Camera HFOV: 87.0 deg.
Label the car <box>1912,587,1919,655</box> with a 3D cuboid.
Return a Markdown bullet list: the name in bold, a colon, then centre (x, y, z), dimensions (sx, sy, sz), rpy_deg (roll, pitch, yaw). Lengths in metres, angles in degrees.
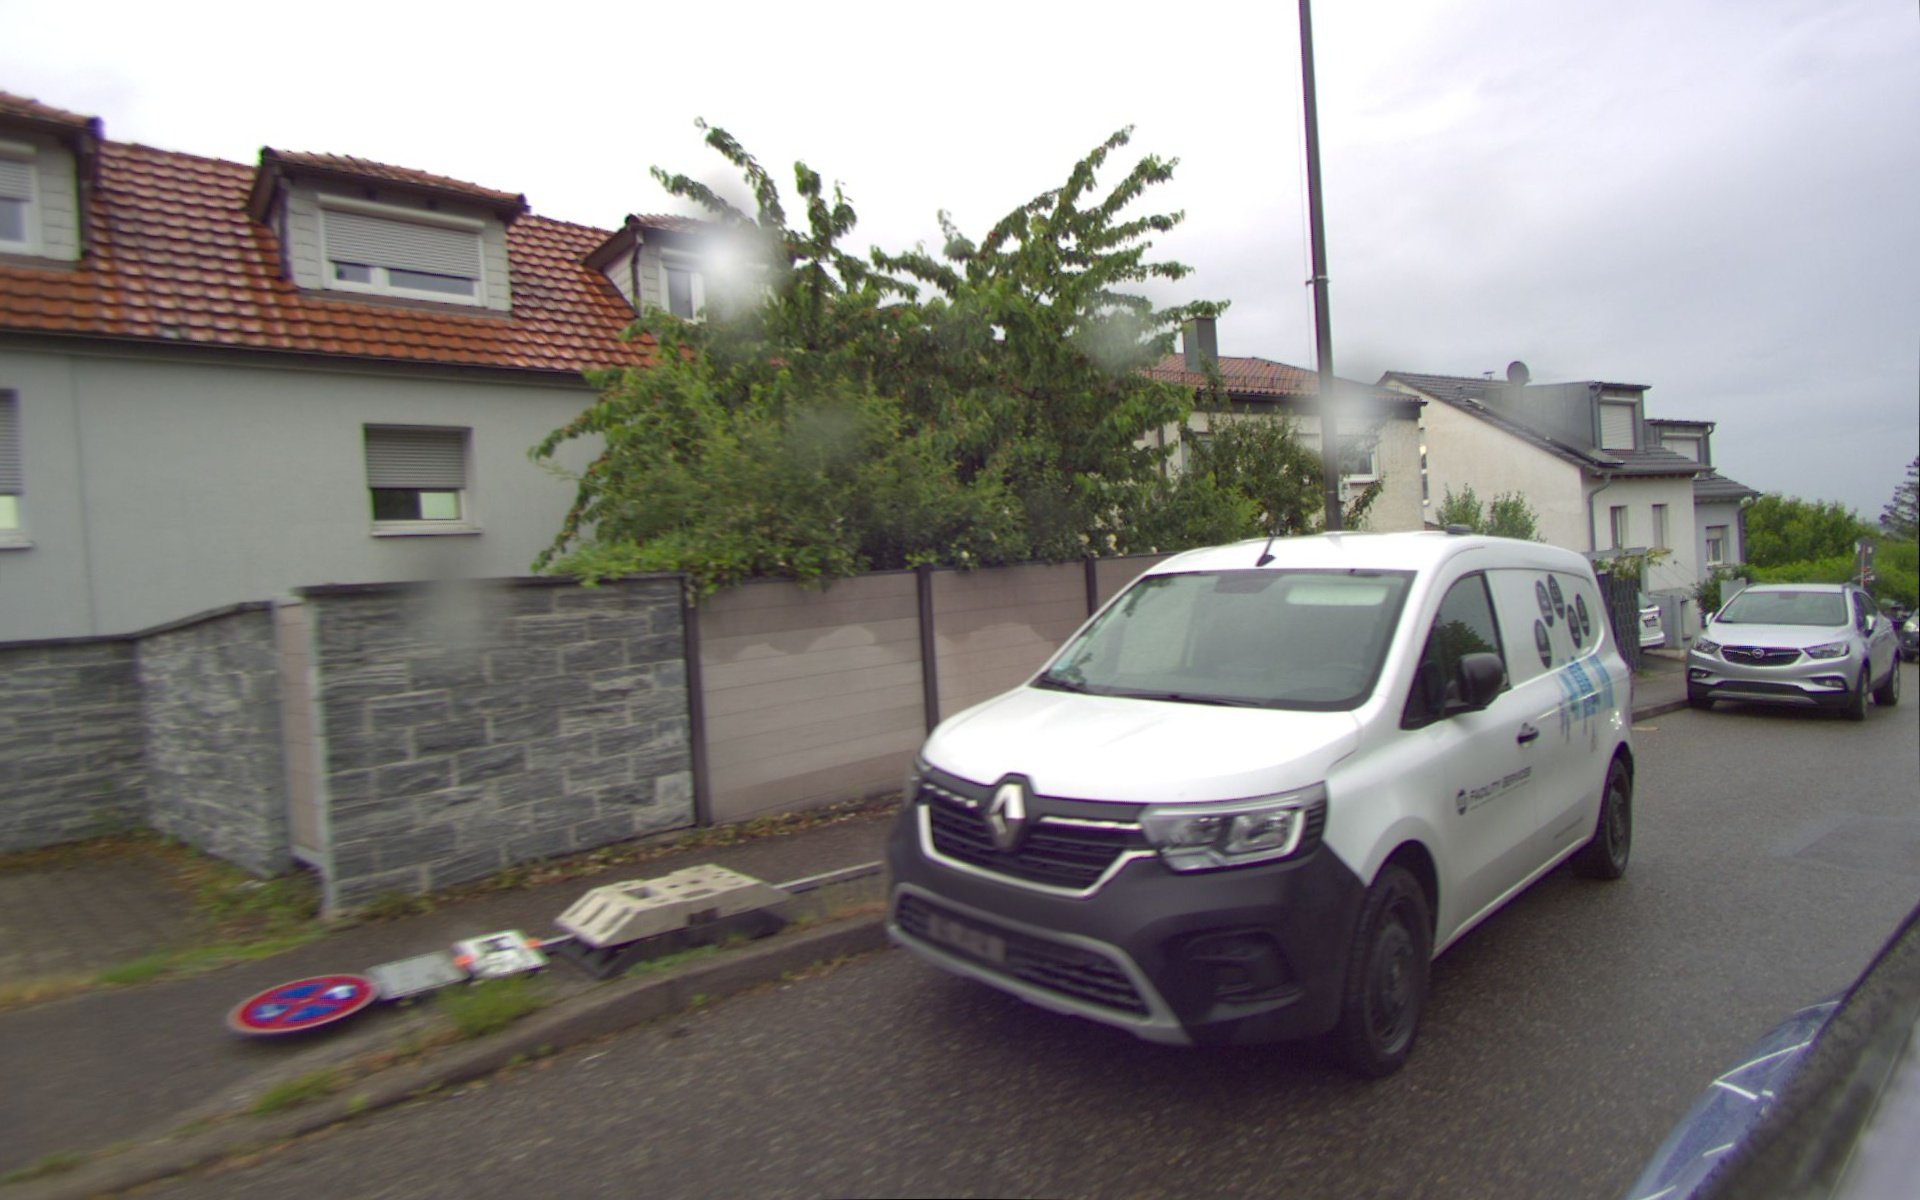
- **car**: centre (22.786, 0.464, 22.547), dimensions (3.694, 1.485, 1.664), rpy_deg (0, 2, -37)

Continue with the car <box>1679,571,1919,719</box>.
- **car**: centre (11.302, 0.469, 13.505), dimensions (4.213, 1.647, 1.808), rpy_deg (-1, 2, -41)

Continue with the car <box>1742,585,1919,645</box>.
- **car**: centre (27.549, 0.512, 31.899), dimensions (1.960, 1.461, 4.001), rpy_deg (-1, -6, -28)

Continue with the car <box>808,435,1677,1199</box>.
- **car**: centre (1.718, 0.500, 4.617), dimensions (1.779, 1.826, 4.631), rpy_deg (0, 0, 45)

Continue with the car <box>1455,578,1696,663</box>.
- **car**: centre (13.121, 0.387, 21.808), dimensions (1.898, 1.609, 4.001), rpy_deg (-2, 1, -33)
